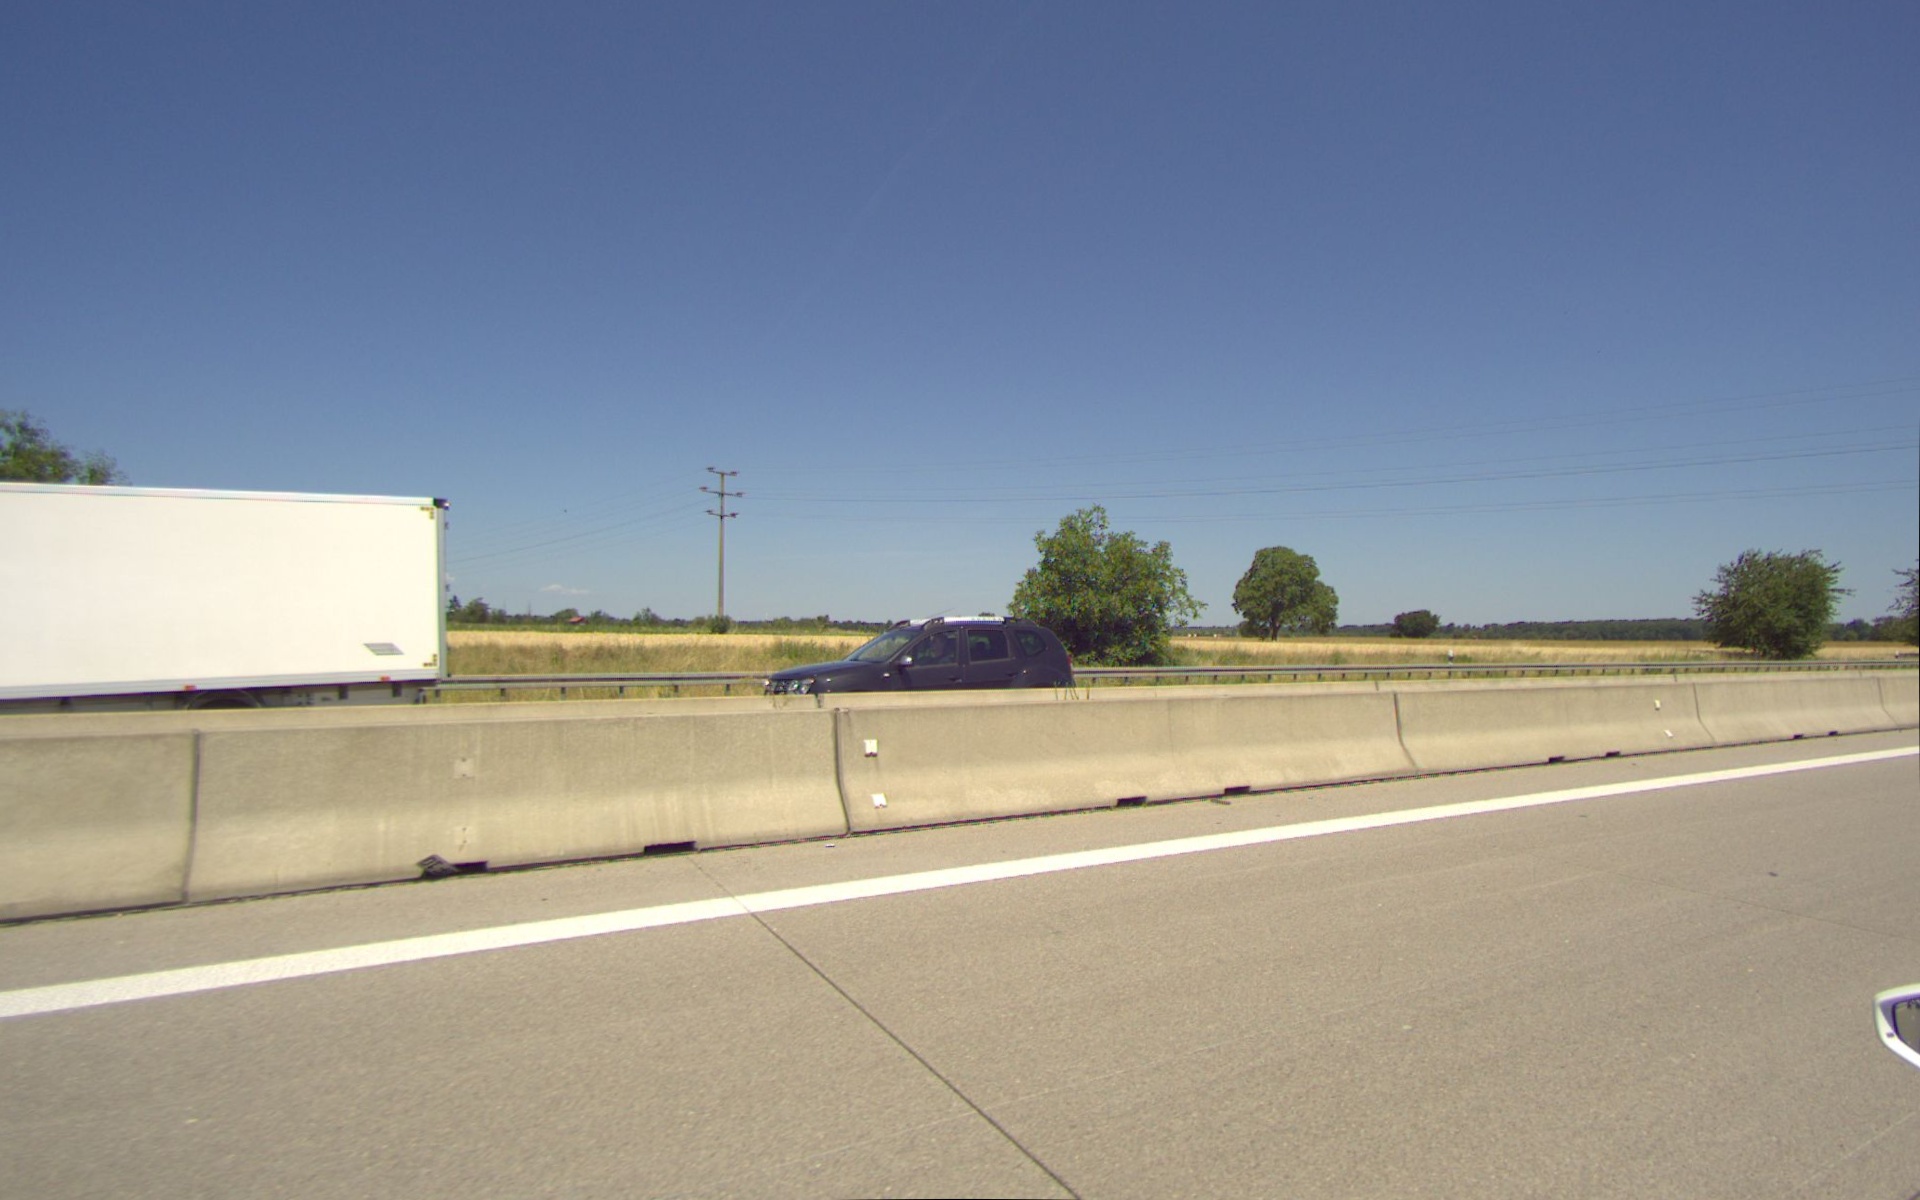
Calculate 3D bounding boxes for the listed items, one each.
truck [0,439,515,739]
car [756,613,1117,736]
[{"bbox_3d":[-9.878,-0.085,12.298,7.831,3.183,2.534,2,-1,-31],"label":"truck"},{"bbox_3d":[-0.253,0.910,13.277,4.439,1.369,1.838,2,-1,-29],"label":"car"}]
